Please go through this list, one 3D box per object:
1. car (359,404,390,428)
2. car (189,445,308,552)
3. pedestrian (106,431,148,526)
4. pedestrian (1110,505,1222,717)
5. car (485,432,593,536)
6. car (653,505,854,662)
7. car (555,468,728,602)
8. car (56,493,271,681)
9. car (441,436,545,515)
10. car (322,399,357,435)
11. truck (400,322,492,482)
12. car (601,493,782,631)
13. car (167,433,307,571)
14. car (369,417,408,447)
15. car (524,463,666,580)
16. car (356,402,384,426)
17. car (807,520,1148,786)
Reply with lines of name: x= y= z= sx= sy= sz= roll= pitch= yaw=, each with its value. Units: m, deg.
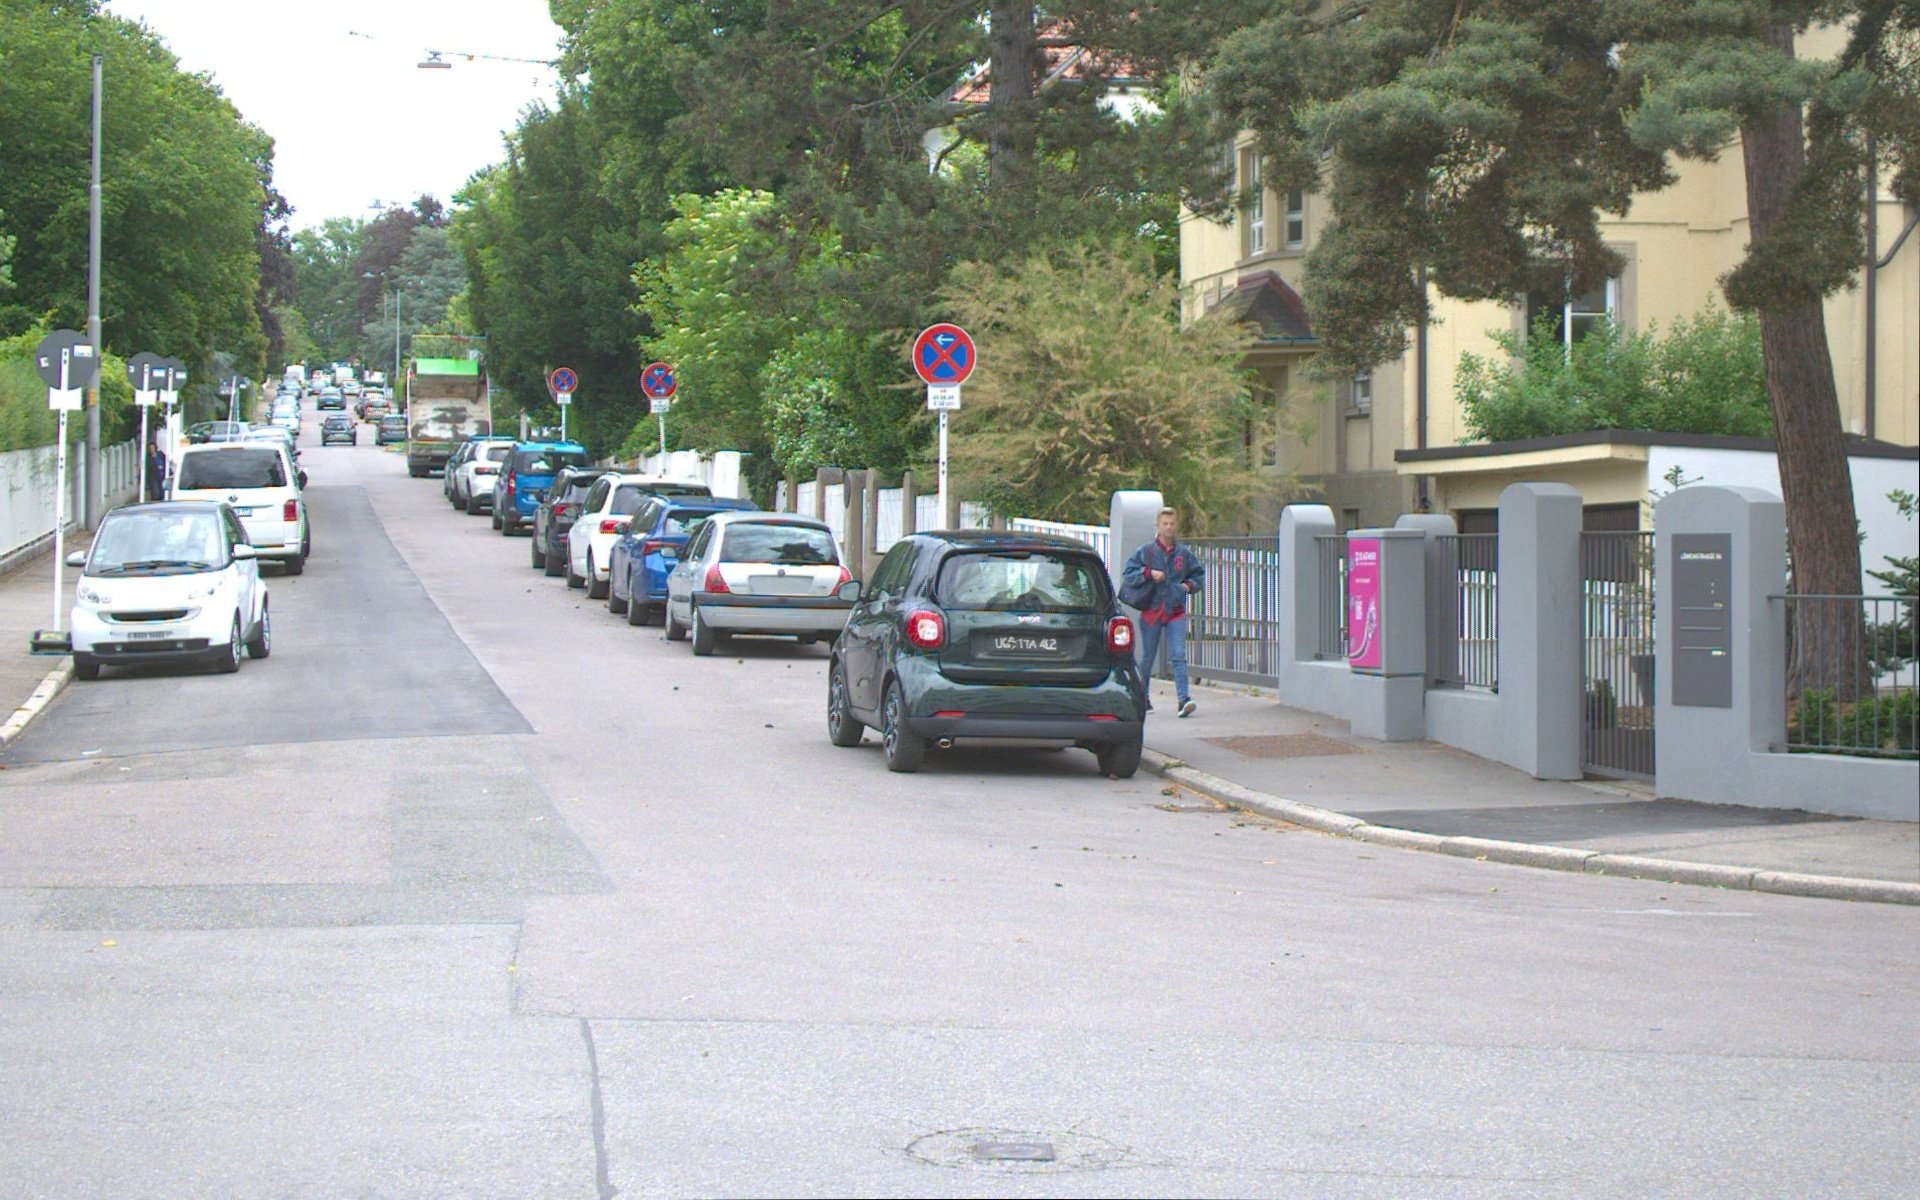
car: x=-37.150 y=-11.673 z=218.184 sx=1.809 sy=1.331 sz=3.634 roll=2 pitch=4 yaw=-12
car: x=-11.818 y=-1.714 z=56.950 sx=1.790 sy=1.617 sz=4.345 roll=-1 pitch=4 yaw=-13
pedestrian: x=-17.826 y=-2.605 z=73.591 sx=0.811 sy=2.006 sz=0.860 roll=1 pitch=3 yaw=-10
pedestrian: x=1.571 y=0.073 z=26.338 sx=0.681 sy=1.571 sz=0.907 roll=-2 pitch=2 yaw=-5
car: x=-8.139 y=-2.258 z=66.175 sx=1.682 sy=1.823 sz=4.159 roll=2 pitch=3 yaw=-11
car: x=-2.160 y=-0.205 z=35.151 sx=1.573 sy=1.395 sz=3.657 roll=2 pitch=3 yaw=-10
car: x=-4.342 y=-0.916 z=46.336 sx=1.784 sy=1.598 sz=4.306 roll=2 pitch=3 yaw=-12
car: x=-7.391 y=-0.162 z=32.100 sx=1.442 sy=1.546 sz=2.770 roll=-3 pitch=3 yaw=-4
car: x=-10.452 y=-2.798 z=76.701 sx=1.757 sy=1.600 sz=4.577 roll=1 pitch=3 yaw=-14
car: x=-31.365 y=-9.254 z=173.753 sx=1.633 sy=1.695 sz=3.496 roll=1 pitch=4 yaw=-11
truck: x=-16.011 y=-6.134 z=106.775 sx=2.523 sy=4.731 sz=7.190 roll=1 pitch=3 yaw=-10
car: x=-3.185 y=-0.479 z=40.122 sx=1.647 sy=1.453 sz=4.053 roll=1 pitch=2 yaw=-11
car: x=-10.744 y=-1.517 z=51.336 sx=1.854 sy=1.906 sz=4.621 roll=-2 pitch=3 yaw=-10
car: x=-29.195 y=-8.579 z=175.547 sx=1.778 sy=1.484 sz=4.002 roll=0 pitch=3 yaw=-12
car: x=-5.568 y=-1.222 z=52.084 sx=1.749 sy=1.602 sz=4.077 roll=2 pitch=2 yaw=-11
car: x=-38.921 y=-12.295 z=226.888 sx=1.789 sy=1.524 sz=3.736 roll=1 pitch=3 yaw=-9
car: x=0.054 y=0.306 z=22.923 sx=1.571 sy=1.526 sz=2.869 roll=3 pitch=2 yaw=-13
